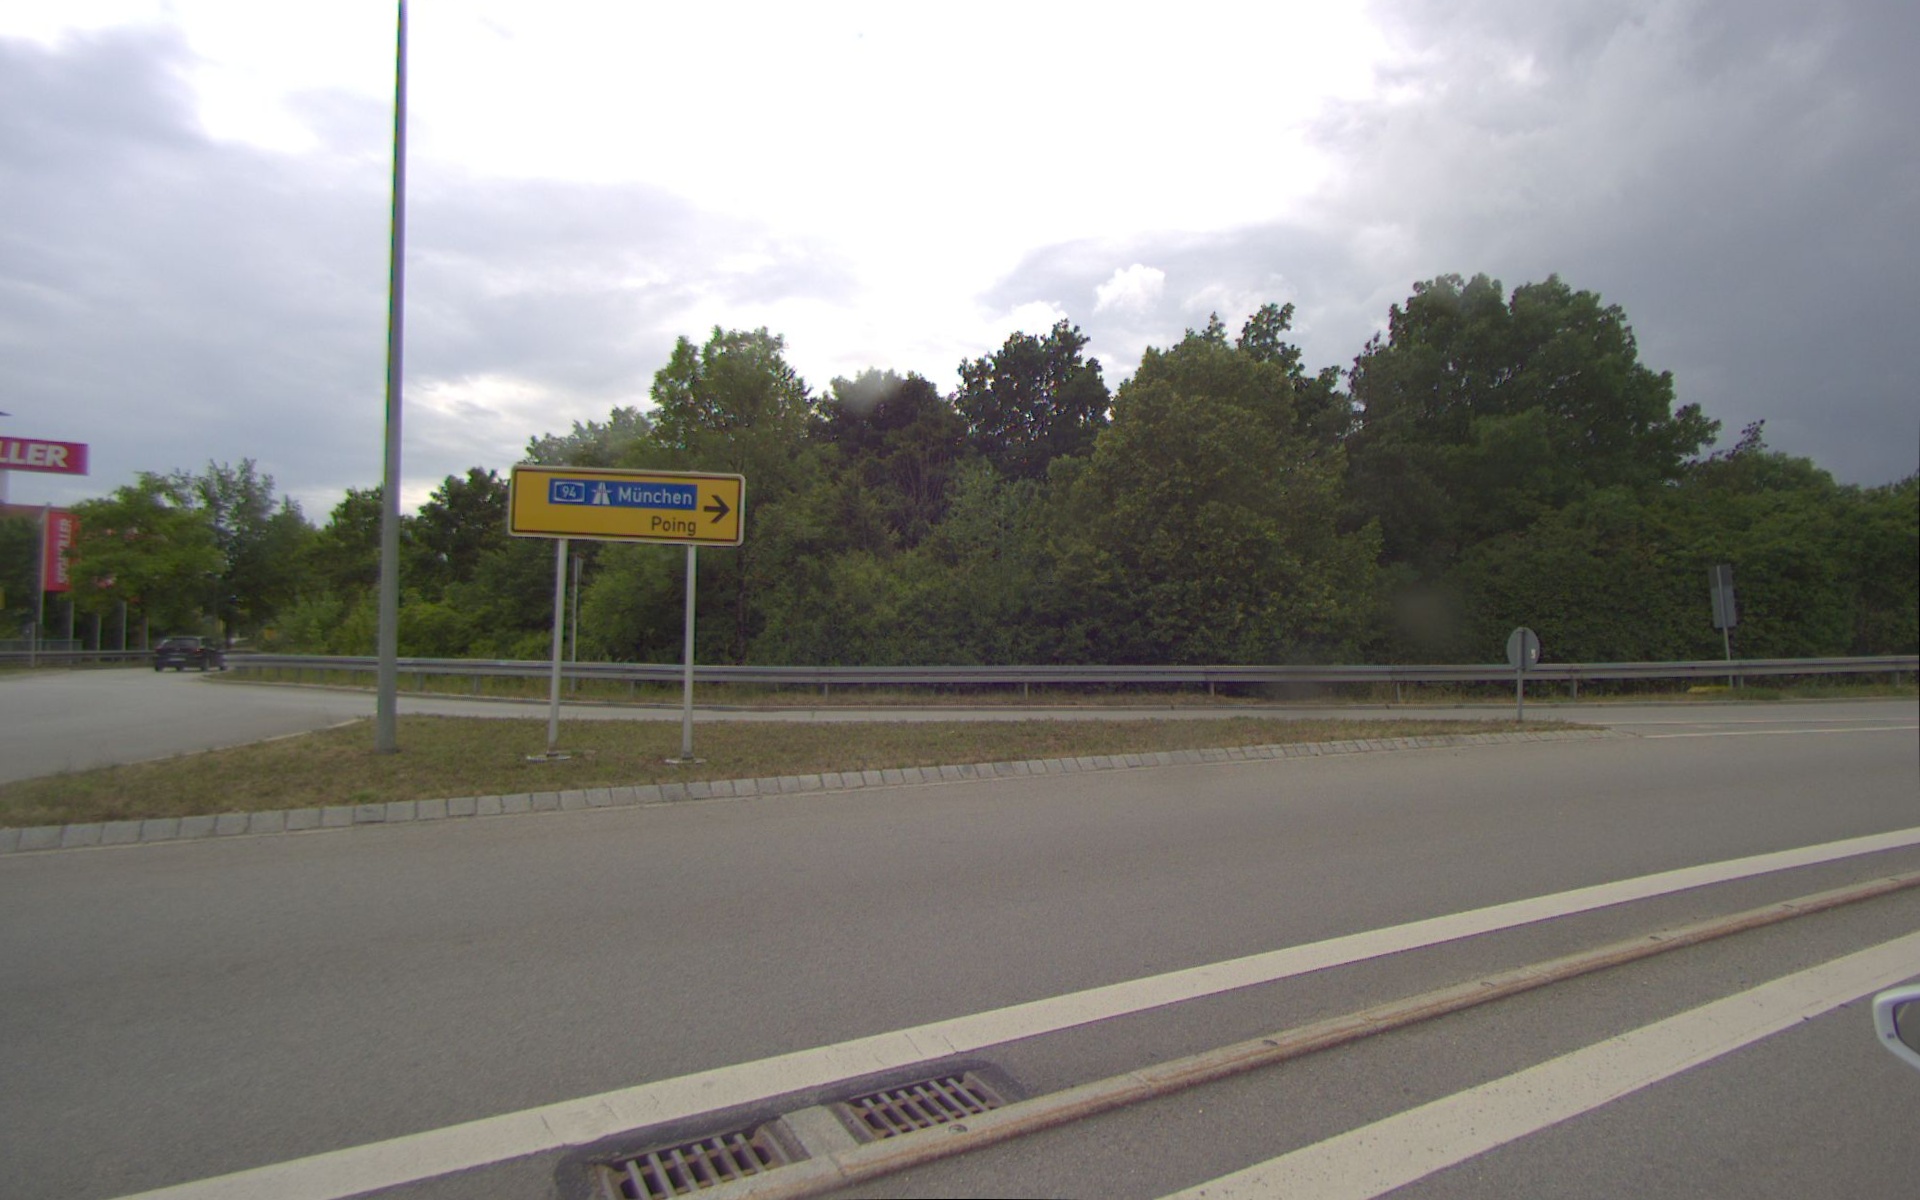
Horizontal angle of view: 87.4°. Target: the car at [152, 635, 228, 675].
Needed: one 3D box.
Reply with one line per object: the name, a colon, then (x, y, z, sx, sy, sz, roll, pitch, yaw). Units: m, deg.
car: (-31.239, 2.200, 40.836, 1.541, 1.529, 3.296, 1, -2, -21)
